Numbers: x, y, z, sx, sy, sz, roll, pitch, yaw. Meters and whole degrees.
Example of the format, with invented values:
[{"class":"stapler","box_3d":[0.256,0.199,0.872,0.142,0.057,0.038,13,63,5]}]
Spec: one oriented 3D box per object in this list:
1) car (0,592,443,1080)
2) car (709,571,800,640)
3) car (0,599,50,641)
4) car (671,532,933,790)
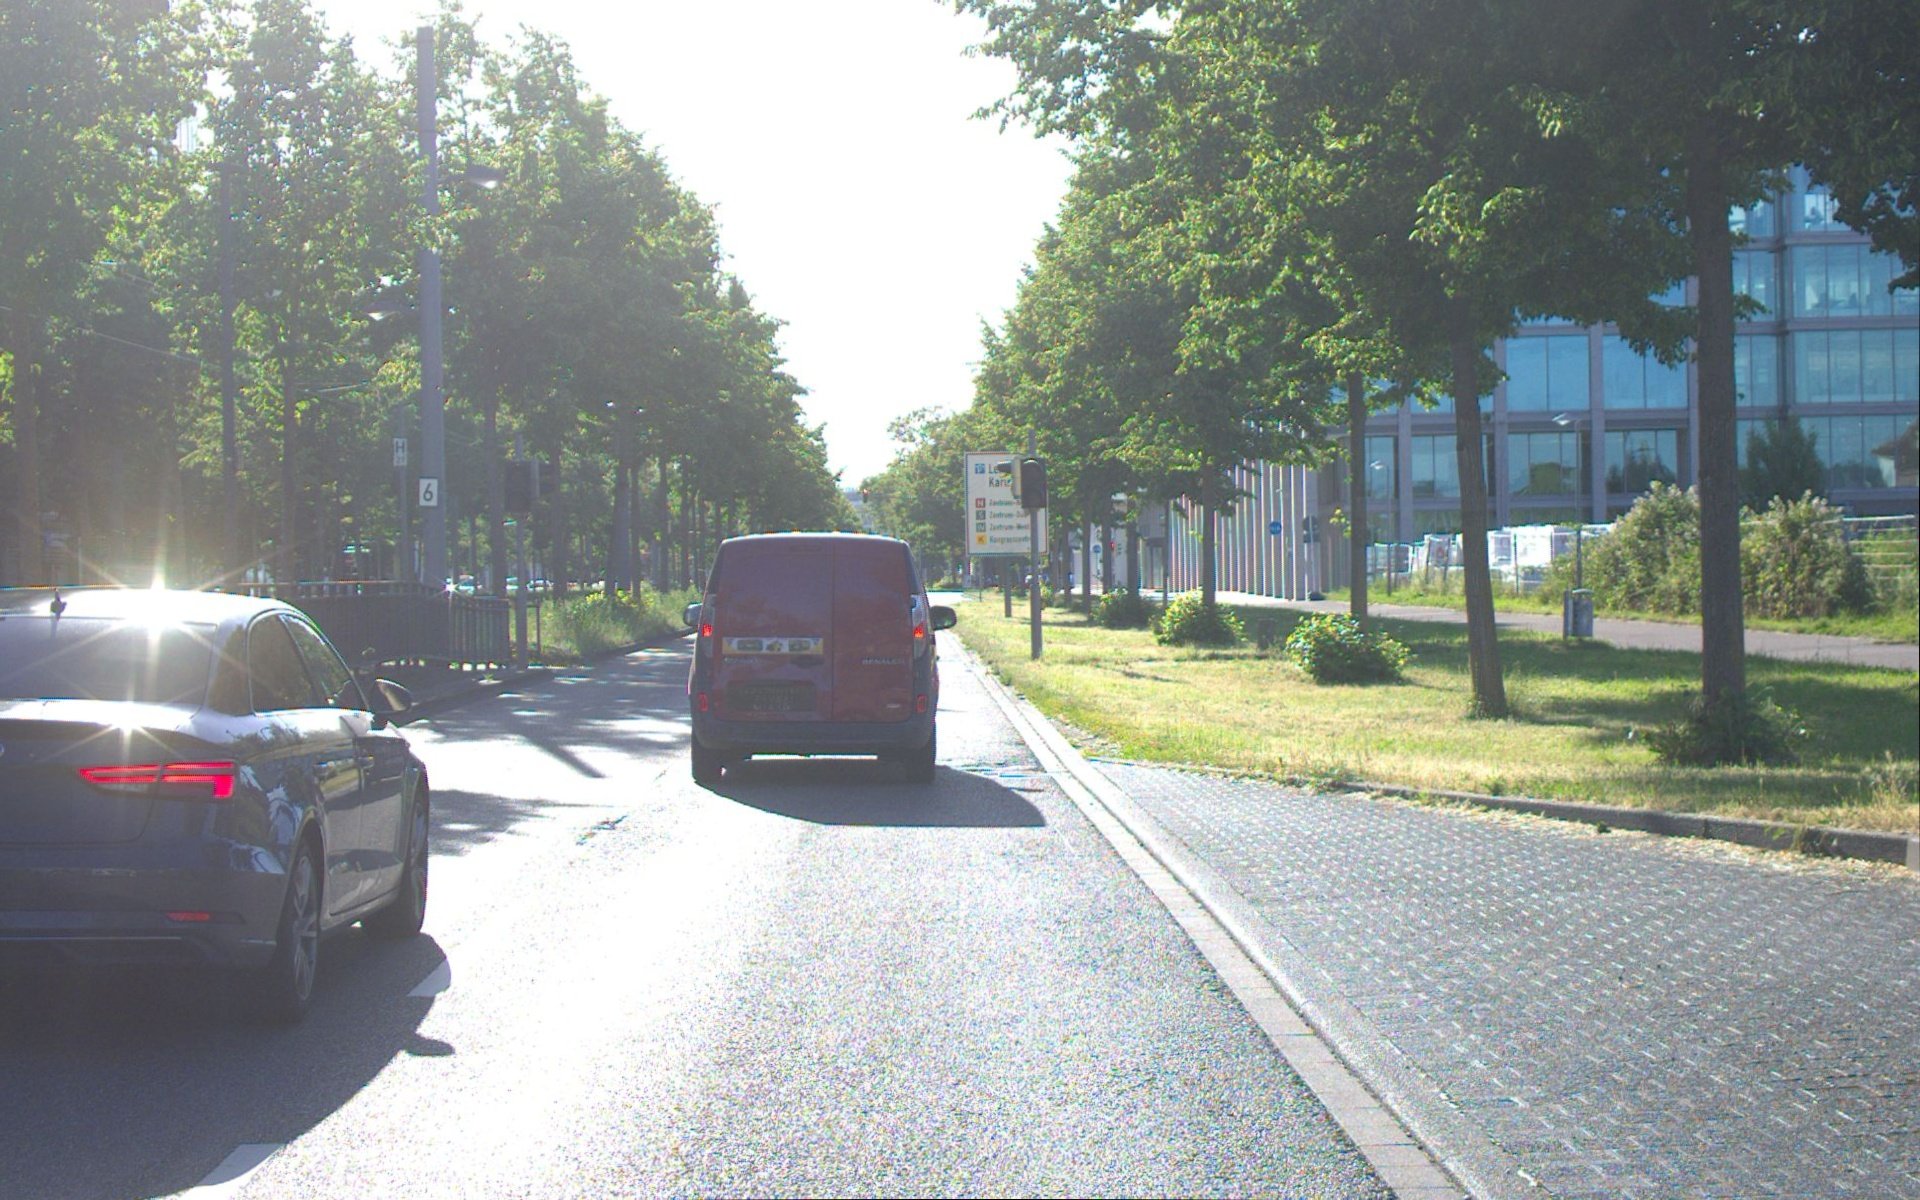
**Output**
[{"class":"car","box_3d":[-2.989,0.690,12.181,1.721,1.361,4.146,1,1,-1]},{"class":"car","box_3d":[-4.538,0.104,76.094,1.942,1.436,4.000,-1,0,-3]},{"class":"car","box_3d":[-33.499,0.707,121.168,1.715,1.415,4.545,-1,0,-1]},{"class":"car","box_3d":[-1.190,0.417,25.814,1.797,1.771,4.000,0,0,-3]}]
